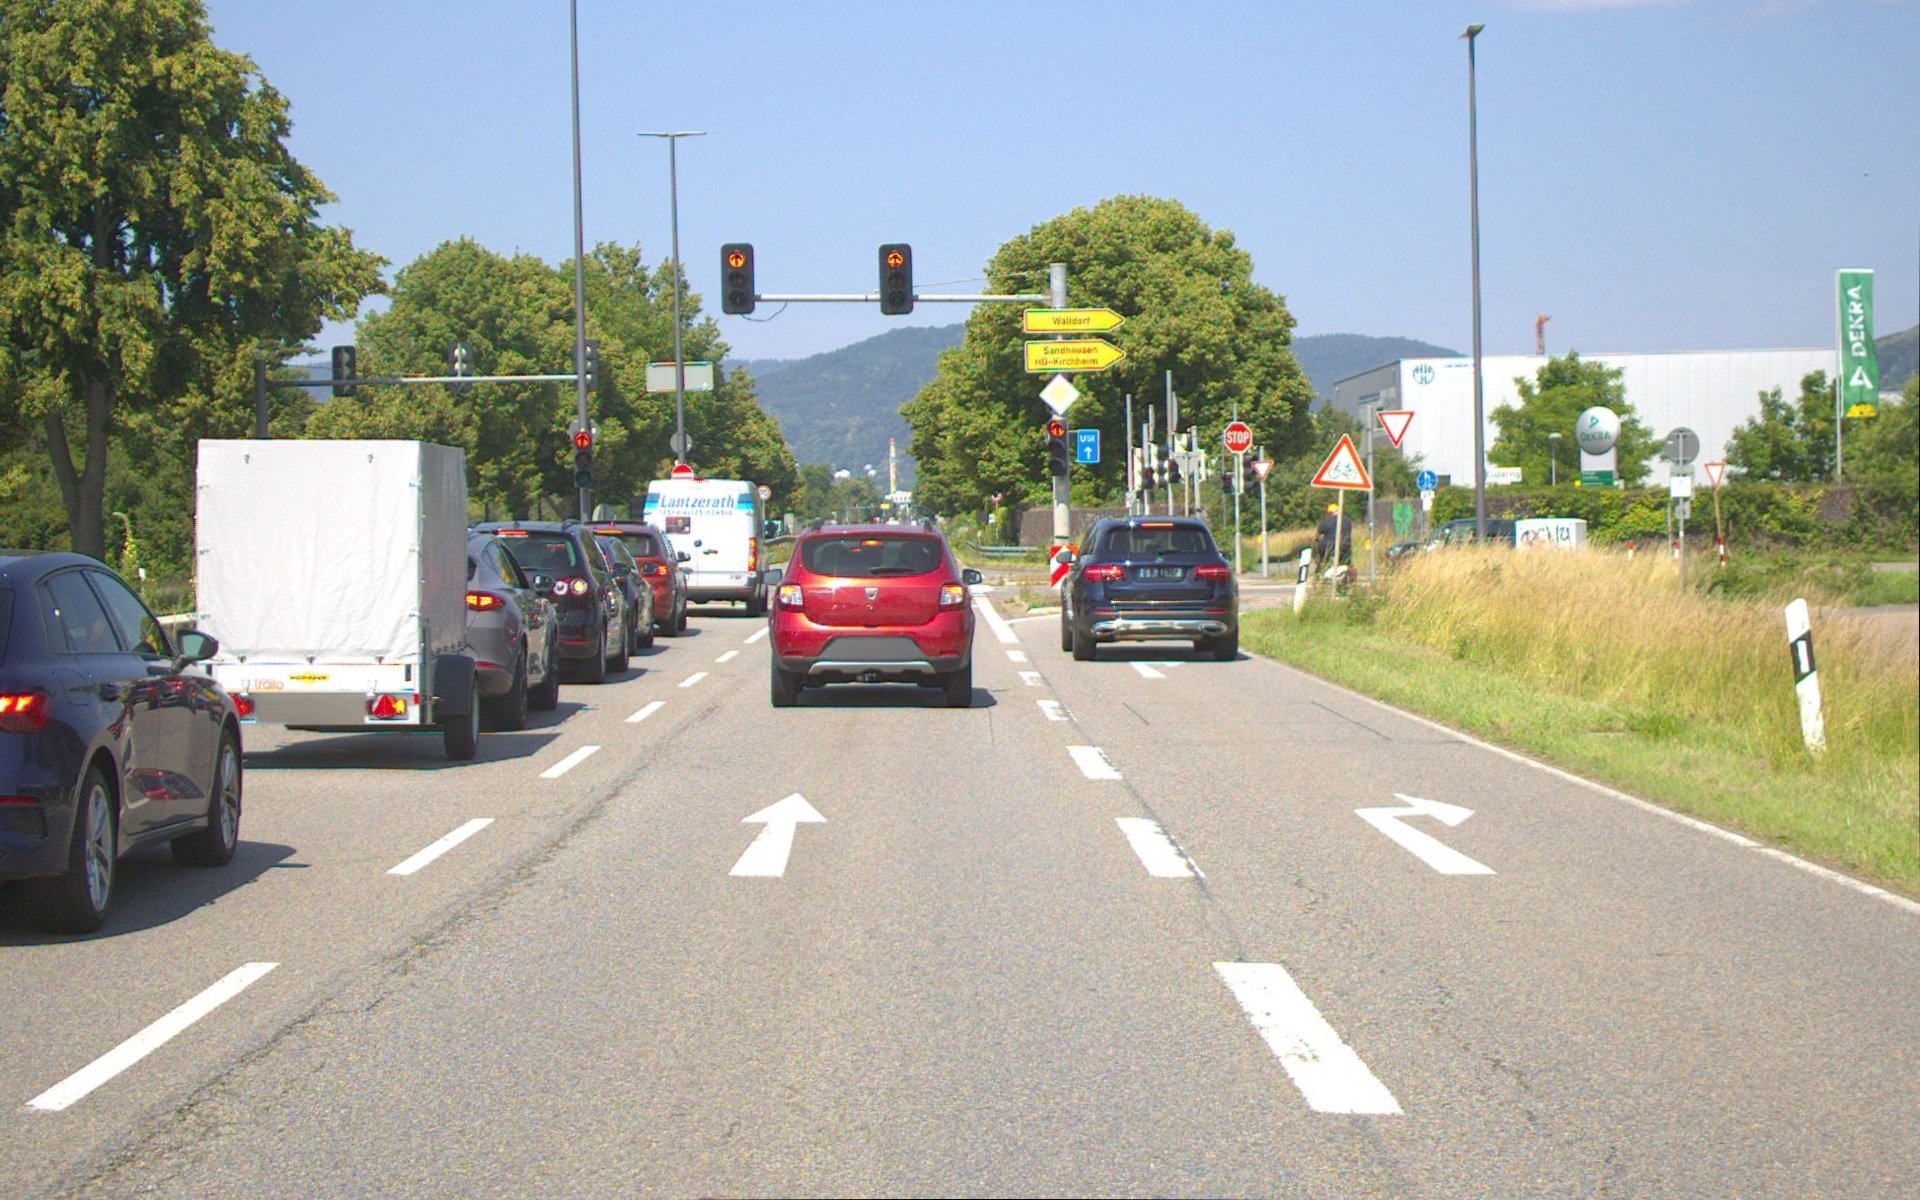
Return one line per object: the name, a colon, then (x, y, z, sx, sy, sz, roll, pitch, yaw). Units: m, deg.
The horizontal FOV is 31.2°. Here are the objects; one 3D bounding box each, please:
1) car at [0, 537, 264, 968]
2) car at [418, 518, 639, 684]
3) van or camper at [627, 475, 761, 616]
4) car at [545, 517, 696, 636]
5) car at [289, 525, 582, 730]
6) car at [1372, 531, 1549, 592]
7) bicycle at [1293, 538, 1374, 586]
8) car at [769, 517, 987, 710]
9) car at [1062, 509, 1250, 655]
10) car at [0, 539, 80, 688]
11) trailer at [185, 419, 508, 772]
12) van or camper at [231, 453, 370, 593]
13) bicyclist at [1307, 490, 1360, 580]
car: (-4.044, 0.490, 13.867, 1.717, 1.460, 4.030, 0, 1, -1)
car: (-4.249, -0.035, 34.351, 1.723, 1.570, 3.893, 0, 1, 0)
van or camper: (-4.503, -0.948, 58.808, 2.179, 2.295, 4.827, 0, 1, -3)
car: (-4.711, -0.366, 48.182, 1.724, 1.594, 3.956, 0, 1, 0)
car: (-4.072, 0.155, 27.311, 1.745, 1.498, 4.363, 0, 1, -1)
car: (11.600, -0.895, 79.824, 3.988, 1.322, 1.806, -1, 1, 7)
bicycle: (7.455, -0.774, 68.701, 0.761, 0.911, 2.780, -1, 1, -12)
car: (-0.661, 0.068, 30.196, 1.749, 1.570, 3.676, -1, 1, 1)
car: (2.227, -0.253, 40.132, 1.993, 1.611, 4.340, 0, 1, 1)
car: (-10.429, 0.140, 34.928, 1.879, 1.449, 4.505, -1, 1, -1)
trailer: (-4.044, -0.076, 23.218, 1.500, 2.166, 4.175, 0, 1, -1)
van or camper: (-15.282, -1.808, 79.939, 2.263, 3.088, 5.696, -1, 2, -2)
bicyclist: (7.452, -1.296, 68.556, 0.802, 1.765, 0.809, -2, 2, -12)
